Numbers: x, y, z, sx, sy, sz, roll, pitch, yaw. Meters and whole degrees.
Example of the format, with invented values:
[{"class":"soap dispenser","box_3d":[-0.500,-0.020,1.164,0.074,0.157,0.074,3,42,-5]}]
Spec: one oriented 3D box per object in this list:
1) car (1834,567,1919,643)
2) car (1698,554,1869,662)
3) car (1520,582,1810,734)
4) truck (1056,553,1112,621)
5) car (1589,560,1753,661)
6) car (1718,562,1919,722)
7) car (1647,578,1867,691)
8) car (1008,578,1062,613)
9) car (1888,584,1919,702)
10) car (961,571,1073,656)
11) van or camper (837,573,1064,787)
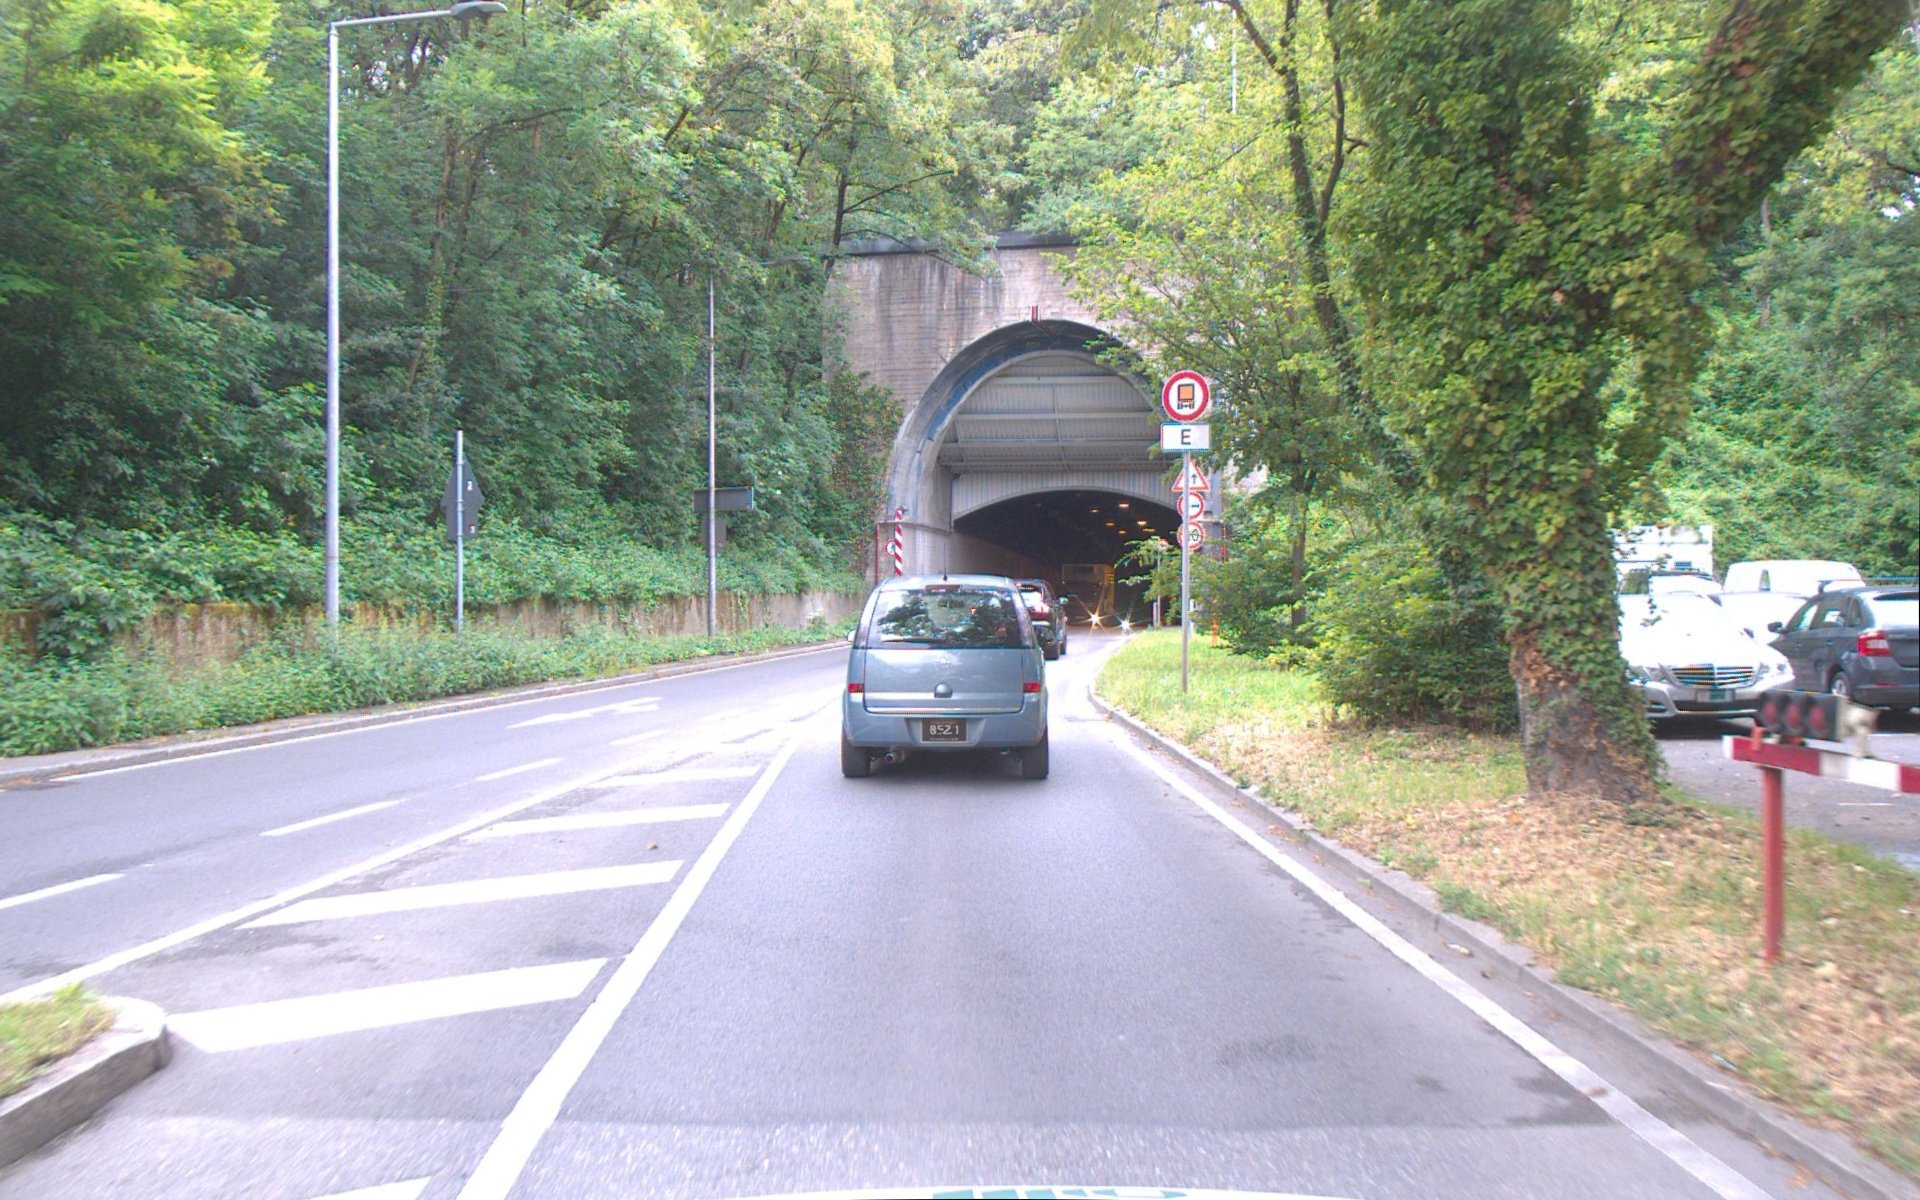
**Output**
[{"class":"car","box_3d":[19.318,0.089,33.283,1.757,1.451,4.330,0,0,9]},{"class":"car","box_3d":[16.626,0.150,33.644,1.816,2.050,4.566,0,0,9]},{"class":"car","box_3d":[7.823,0.550,18.890,1.747,1.467,5.067,-1,1,8]},{"class":"truck","box_3d":[7.092,-0.709,93.819,2.618,3.731,7.524,0,0,9]},{"class":"car","box_3d":[14.411,0.195,33.809,1.817,1.911,4.889,0,0,8]},{"class":"car","box_3d":[10.256,0.378,18.747,1.747,1.585,4.598,-1,1,8]},{"class":"car","box_3d":[11.291,0.465,23.725,1.706,1.467,3.901,-1,0,8]},{"class":"car","box_3d":[3.255,-0.208,70.933,1.828,1.395,4.460,-1,1,8]},{"class":"car","box_3d":[12.175,0.529,18.301,1.747,1.402,4.598,-1,1,8]},{"class":"car","box_3d":[1.288,0.249,35.588,1.951,1.682,4.004,-1,1,8]},{"class":"van or camper","box_3d":[-0.116,0.572,14.261,1.700,1.605,3.645,0,1,-1]}]
